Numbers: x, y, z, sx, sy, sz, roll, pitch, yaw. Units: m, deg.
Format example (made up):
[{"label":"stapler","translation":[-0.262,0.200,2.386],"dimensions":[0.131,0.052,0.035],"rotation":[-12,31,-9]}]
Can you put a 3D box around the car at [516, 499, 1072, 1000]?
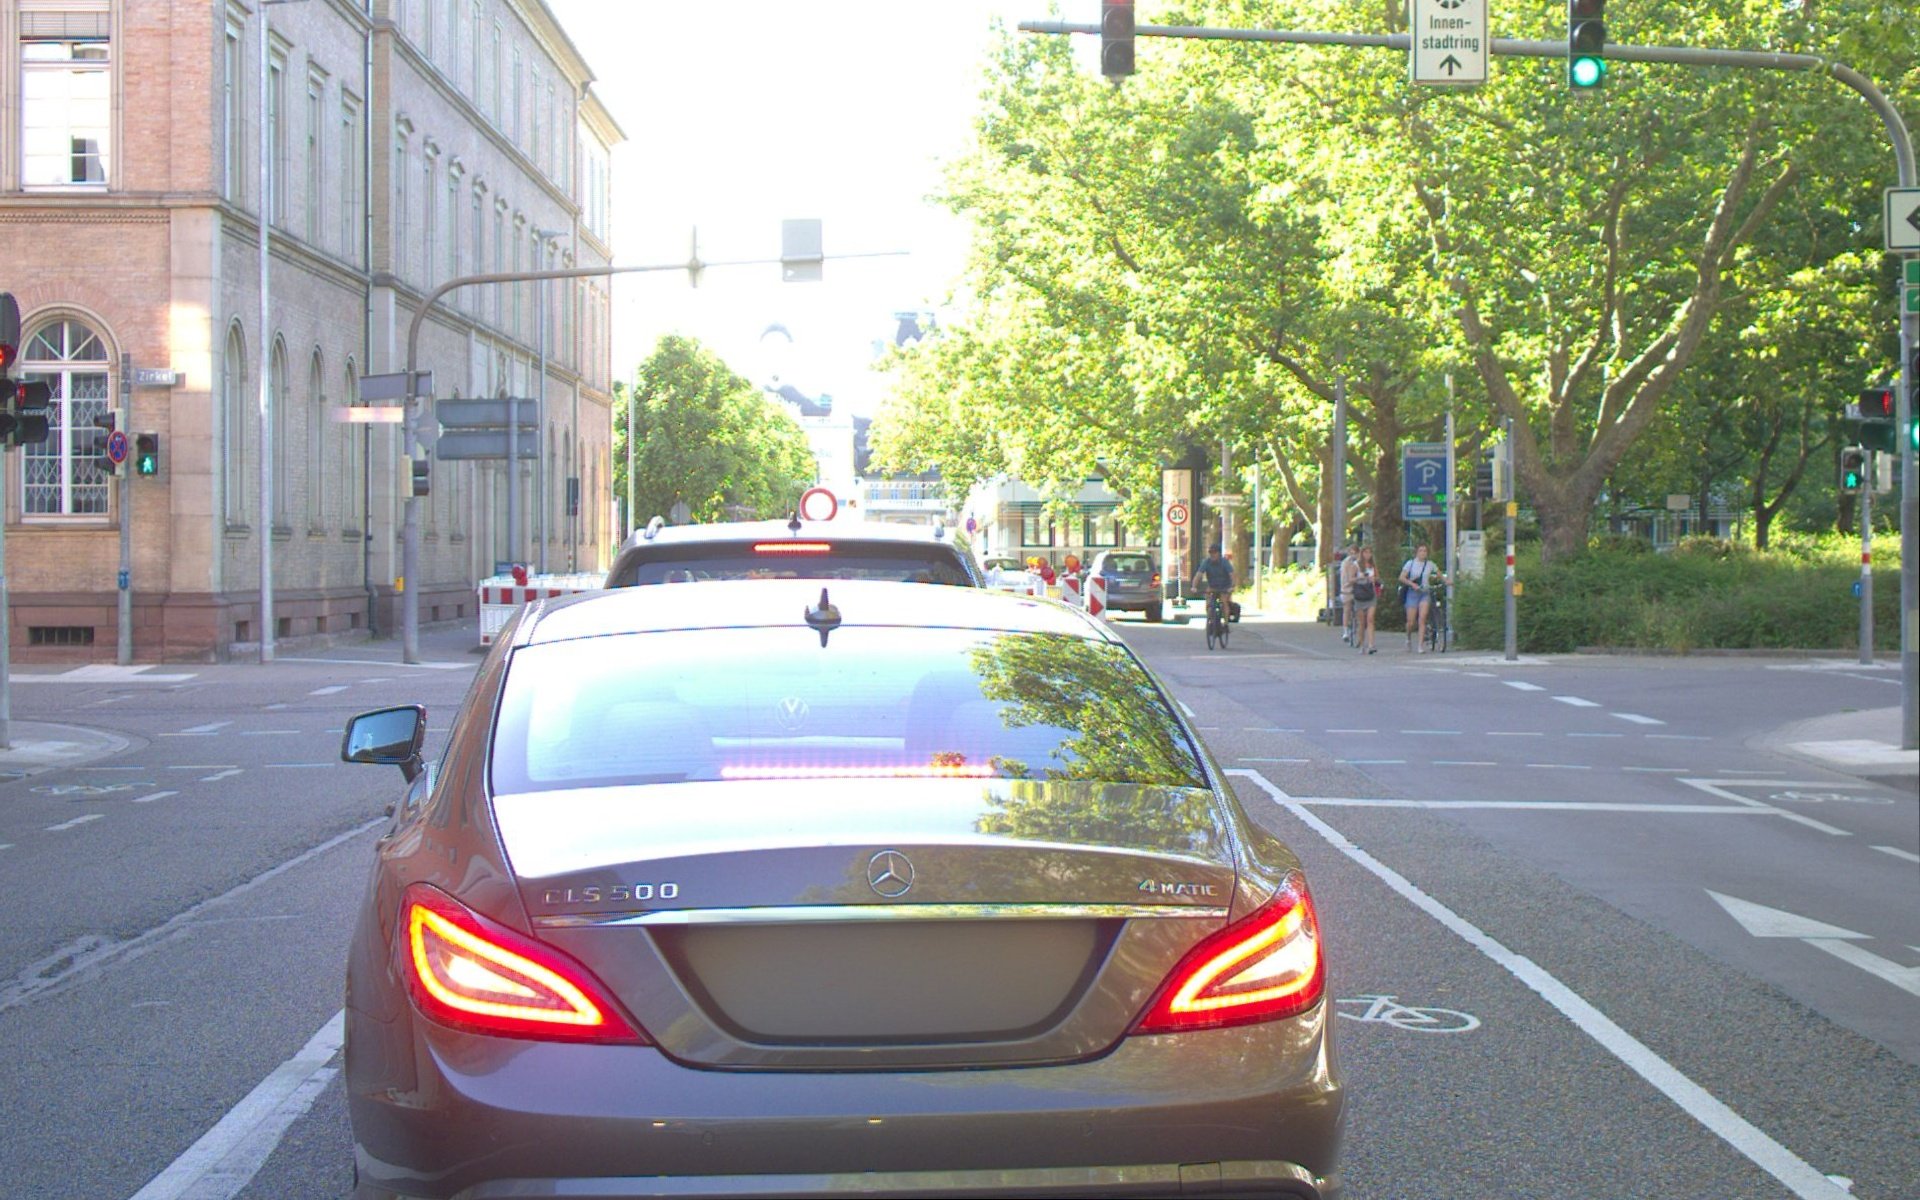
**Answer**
[{"label":"car","translation":[-0.584,0.473,13.617],"dimensions":[1.861,1.677,4.000],"rotation":[1,1,-1]}]

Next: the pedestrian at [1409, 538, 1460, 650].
[{"label":"pedestrian","translation":[7.481,-0.099,54.226],"dimensions":[0.635,1.754,0.699],"rotation":[1,0,-4]}]

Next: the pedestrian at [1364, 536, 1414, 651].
[{"label":"pedestrian","translation":[6.797,-0.107,54.508],"dimensions":[0.635,1.791,0.699],"rotation":[1,0,-4]}]

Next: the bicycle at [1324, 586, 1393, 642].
[{"label":"bicycle","translation":[6.773,0.229,58.582],"dimensions":[0.828,0.921,2.617],"rotation":[1,1,-1]}]

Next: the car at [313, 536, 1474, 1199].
[{"label":"car","translation":[-0.363,0.628,7.487],"dimensions":[1.861,1.514,4.001],"rotation":[0,1,-8]}]

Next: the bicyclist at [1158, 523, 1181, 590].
[{"label":"bicyclist","translation":[6.404,-1.332,105.025],"dimensions":[0.594,2.032,0.566],"rotation":[1,0,-4]}]

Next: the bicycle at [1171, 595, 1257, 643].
[{"label":"bicycle","translation":[4.298,0.319,58.063],"dimensions":[0.724,0.788,1.925],"rotation":[1,1,28]}]

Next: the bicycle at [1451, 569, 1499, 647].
[{"label":"bicycle","translation":[8.095,0.123,54.086],"dimensions":[0.482,1.198,1.606],"rotation":[1,0,-1]}]

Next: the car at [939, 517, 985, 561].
[{"label":"car","translation":[0.066,-2.376,135.062],"dimensions":[1.731,1.656,3.681],"rotation":[1,1,-1]}]

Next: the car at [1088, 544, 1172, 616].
[{"label":"car","translation":[4.335,-0.534,88.043],"dimensions":[1.861,1.758,4.482],"rotation":[1,1,-1]}]

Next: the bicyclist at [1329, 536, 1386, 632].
[{"label":"bicyclist","translation":[6.765,-0.271,58.483],"dimensions":[0.825,1.612,0.957],"rotation":[1,0,-1]}]

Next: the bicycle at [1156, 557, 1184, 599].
[{"label":"bicycle","translation":[6.410,-0.681,104.979],"dimensions":[0.591,1.259,1.806],"rotation":[1,1,-5]}]

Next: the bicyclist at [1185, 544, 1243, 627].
[{"label":"bicyclist","translation":[4.295,-0.245,58.032],"dimensions":[0.734,1.393,0.697],"rotation":[1,0,28]}]
